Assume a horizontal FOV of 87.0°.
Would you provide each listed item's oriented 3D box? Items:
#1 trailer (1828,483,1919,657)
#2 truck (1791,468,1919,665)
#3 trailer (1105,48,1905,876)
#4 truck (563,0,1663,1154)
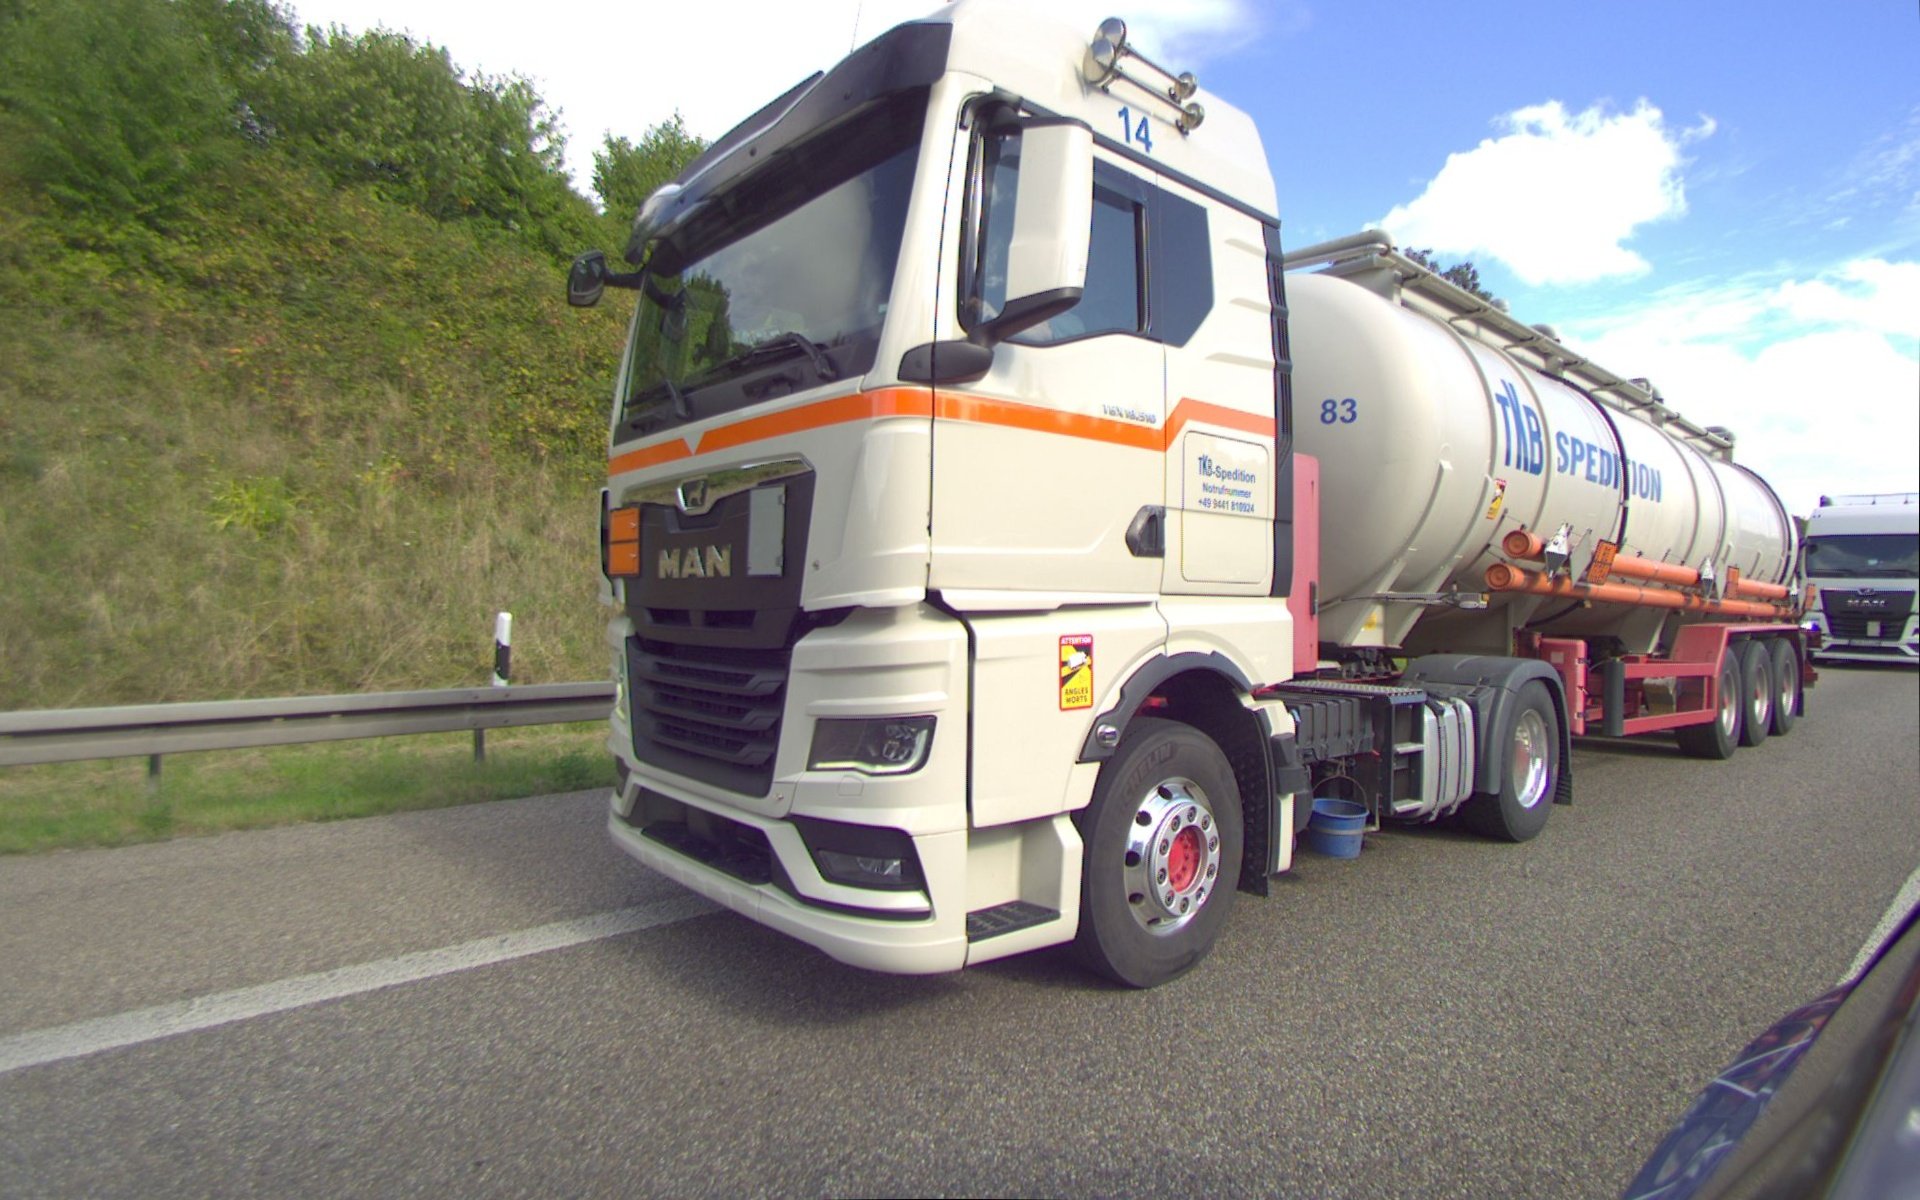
[{"bbox_3d":[27.573,-0.734,28.335,13.134,4.122,2.832,0,1,-40],"label":"trailer"},{"bbox_3d":[21.790,-0.716,23.493,5.606,4.122,2.840,0,1,-40],"label":"truck"},{"bbox_3d":[6.134,-0.721,9.602,10.983,4.077,2.804,0,1,-40],"label":"trailer"},{"bbox_3d":[1.252,-0.667,5.527,5.798,4.094,2.809,0,1,-40],"label":"truck"}]
